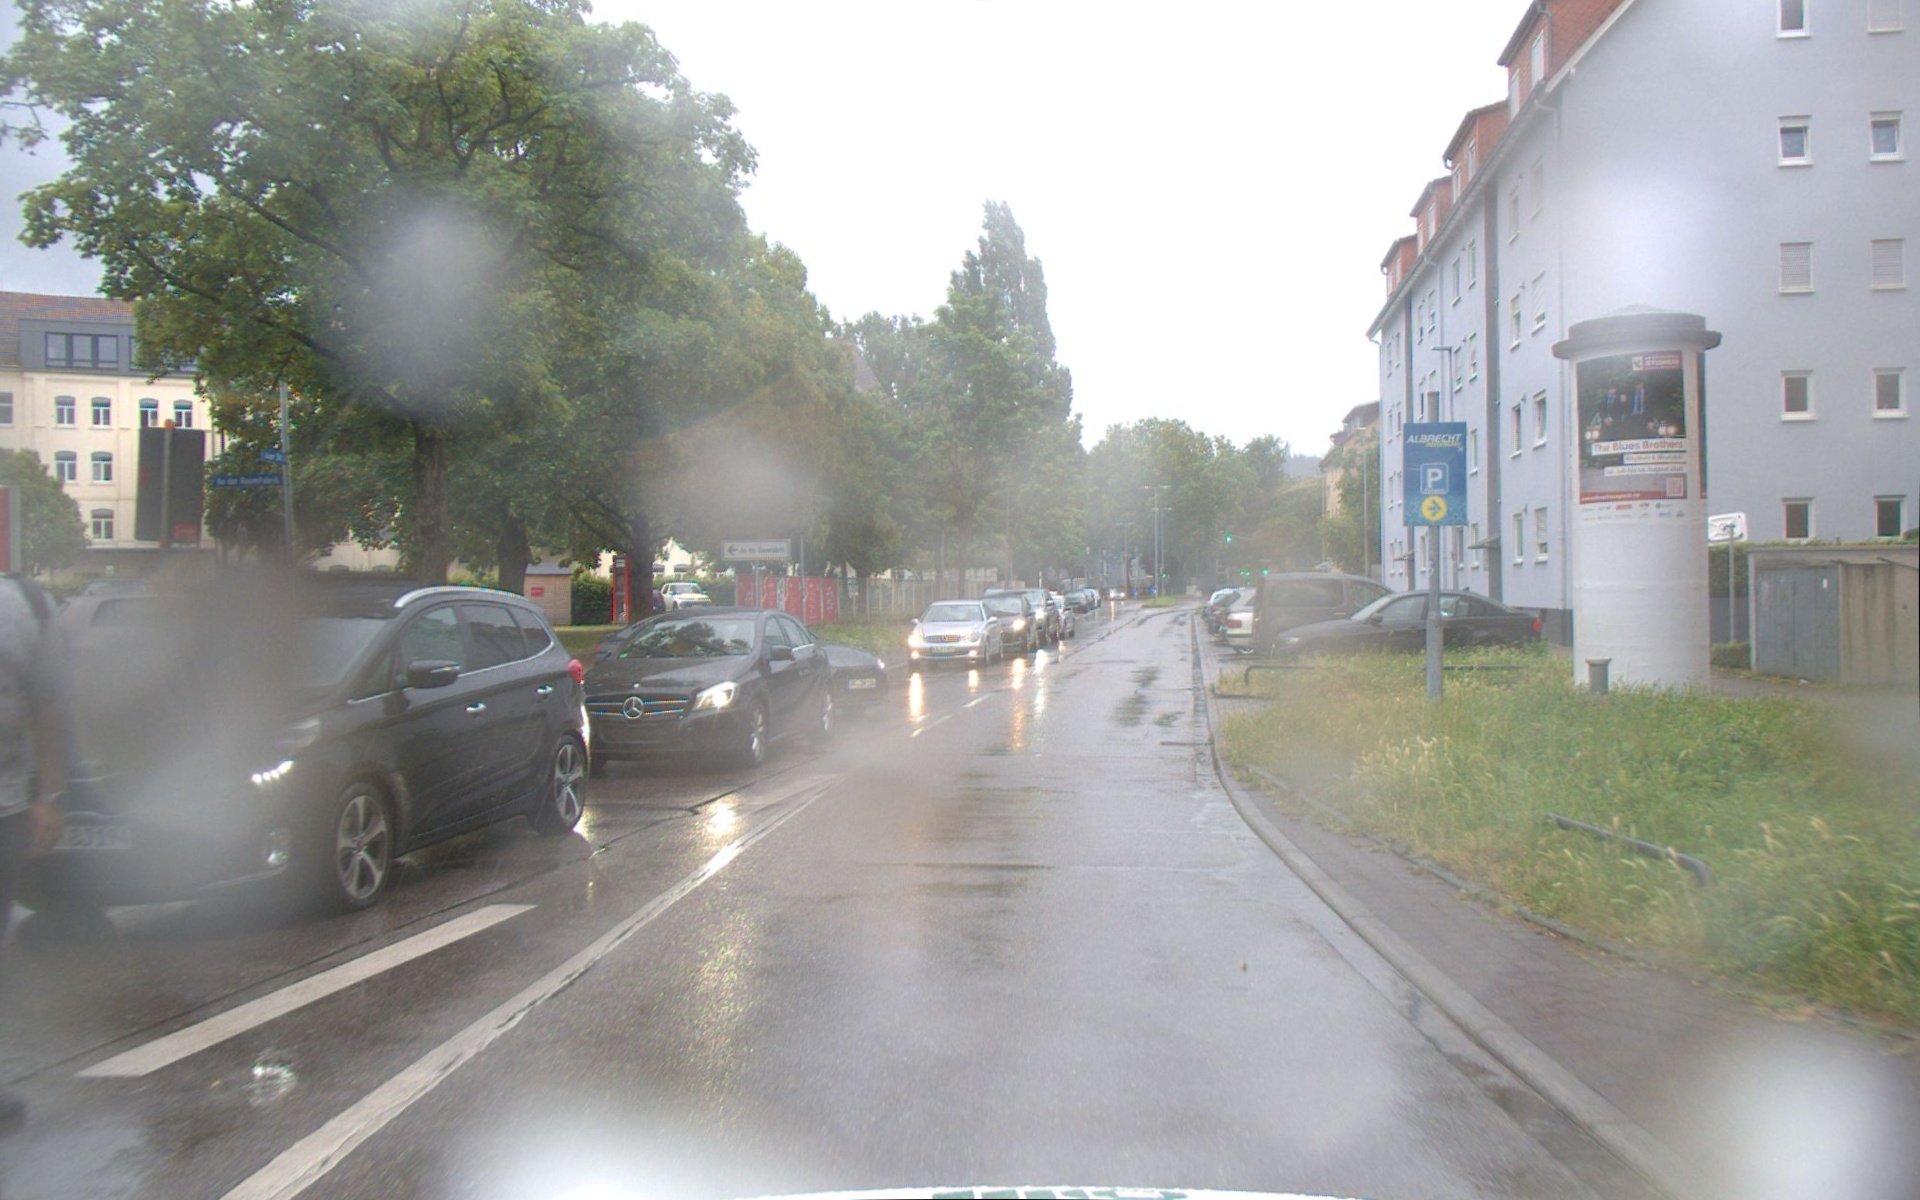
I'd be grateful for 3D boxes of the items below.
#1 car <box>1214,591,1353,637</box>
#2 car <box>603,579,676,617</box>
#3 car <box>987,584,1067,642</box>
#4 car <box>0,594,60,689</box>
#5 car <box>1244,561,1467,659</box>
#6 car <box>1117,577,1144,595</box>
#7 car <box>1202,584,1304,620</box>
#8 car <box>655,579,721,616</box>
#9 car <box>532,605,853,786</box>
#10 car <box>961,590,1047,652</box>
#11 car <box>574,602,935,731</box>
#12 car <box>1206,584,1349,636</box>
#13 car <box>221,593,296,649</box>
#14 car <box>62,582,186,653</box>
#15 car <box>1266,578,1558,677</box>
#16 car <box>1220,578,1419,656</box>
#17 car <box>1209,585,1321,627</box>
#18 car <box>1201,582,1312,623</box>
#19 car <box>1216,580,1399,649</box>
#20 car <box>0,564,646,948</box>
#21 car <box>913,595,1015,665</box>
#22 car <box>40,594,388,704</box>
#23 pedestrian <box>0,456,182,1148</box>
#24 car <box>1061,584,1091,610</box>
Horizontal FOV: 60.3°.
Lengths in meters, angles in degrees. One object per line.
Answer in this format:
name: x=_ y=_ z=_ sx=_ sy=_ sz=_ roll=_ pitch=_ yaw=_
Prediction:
car: x=9.107 y=0.384 z=46.731 sx=3.771 sy=1.229 sz=1.957 roll=-1 pitch=0 yaw=10
car: x=-14.191 y=-0.075 z=73.062 sx=1.973 sy=1.585 sz=3.958 roll=-1 pitch=0 yaw=-30
car: x=2.088 y=0.369 z=50.210 sx=1.873 sy=1.668 sz=4.826 roll=0 pitch=0 yaw=9
car: x=-17.223 y=0.698 z=29.213 sx=1.759 sy=1.535 sz=4.272 roll=-2 pitch=1 yaw=-21
car: x=8.034 y=0.199 z=33.922 sx=4.143 sy=1.836 sz=1.946 roll=-2 pitch=0 yaw=5
car: x=19.447 y=-1.581 z=188.768 sx=1.958 sy=2.049 sz=3.989 roll=-1 pitch=1 yaw=-11
car: x=12.463 y=0.076 z=70.261 sx=4.178 sy=1.479 sz=1.986 roll=0 pitch=1 yaw=13
car: x=-12.238 y=-0.102 z=74.212 sx=1.823 sy=1.600 sz=3.964 roll=0 pitch=-1 yaw=-27
car: x=-2.370 y=0.809 z=15.845 sx=1.689 sy=1.385 sz=4.341 roll=-2 pitch=1 yaw=10
car: x=1.204 y=0.515 z=43.417 sx=1.741 sy=1.445 sz=4.269 roll=-1 pitch=1 yaw=8
car: x=-2.837 y=0.825 z=22.107 sx=4.837 sy=1.479 sz=2.075 roll=-1 pitch=1 yaw=41
car: x=9.397 y=0.295 z=49.258 sx=4.055 sy=1.512 sz=2.014 roll=0 pitch=0 yaw=8
car: x=-21.395 y=0.616 z=50.554 sx=1.769 sy=1.611 sz=3.979 roll=-1 pitch=0 yaw=-18
car: x=-19.906 y=0.376 z=39.584 sx=1.963 sy=1.553 sz=4.411 roll=-1 pitch=1 yaw=-18
car: x=7.399 y=0.445 z=27.497 sx=4.436 sy=1.496 sz=1.985 roll=-1 pitch=0 yaw=8
car: x=7.868 y=0.364 z=36.524 sx=4.100 sy=1.596 sz=1.890 roll=-1 pitch=0 yaw=6
car: x=10.958 y=0.222 z=59.651 sx=3.902 sy=1.467 sz=1.783 roll=0 pitch=0 yaw=7
car: x=11.667 y=0.104 z=65.357 sx=4.249 sy=1.579 sz=2.042 roll=0 pitch=0 yaw=7
car: x=8.148 y=0.336 z=39.125 sx=4.092 sy=1.599 sz=1.892 roll=0 pitch=0 yaw=7
car: x=-3.538 y=0.737 z=9.635 sx=1.827 sy=1.648 sz=4.806 roll=-1 pitch=-1 yaw=9
car: x=0.160 y=0.598 z=36.280 sx=1.737 sy=1.428 sz=4.834 roll=0 pitch=0 yaw=6
car: x=-10.357 y=0.651 z=23.267 sx=4.266 sy=1.419 sz=1.999 roll=0 pitch=0 yaw=-23
pedestrian: x=-2.899 y=0.549 z=4.879 sx=0.862 sy=1.875 sz=0.978 roll=-2 pitch=0 yaw=-38
car: x=7.517 y=-0.206 z=107.522 sx=1.739 sy=1.556 sz=4.001 roll=0 pitch=2 yaw=1
